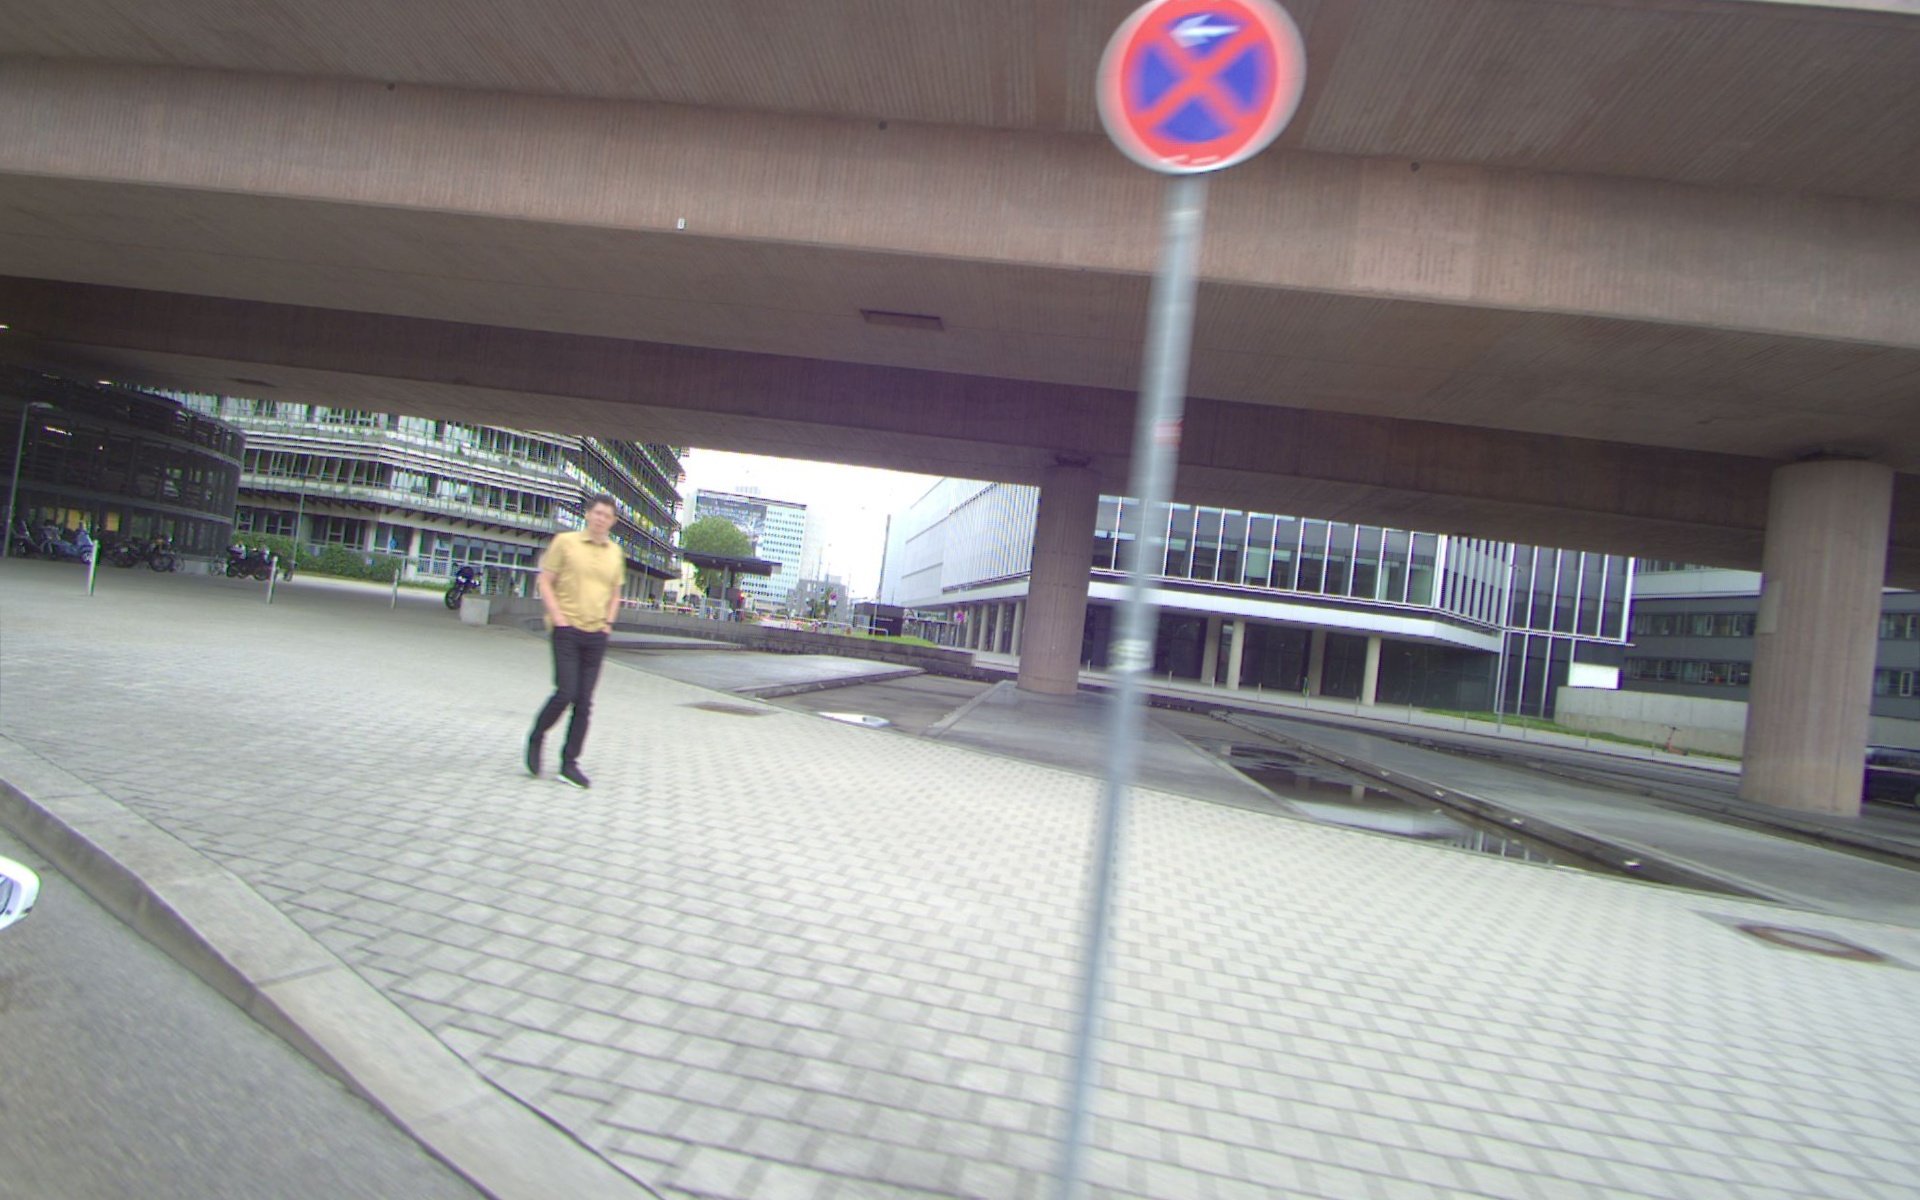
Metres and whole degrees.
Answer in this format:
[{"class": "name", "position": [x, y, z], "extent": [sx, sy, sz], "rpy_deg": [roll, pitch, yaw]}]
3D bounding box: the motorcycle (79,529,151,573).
[{"class": "motorcycle", "position": [-29.846, -1.713, 35.552], "extent": [2.039, 1.234, 0.675], "rpy_deg": [8, -1, 10]}]

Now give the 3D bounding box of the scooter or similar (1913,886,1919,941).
[{"class": "scooter or similar", "position": [6.810, 1.744, 6.346], "extent": [0.509, 1.311, 1.648], "rpy_deg": [8, 0, 24]}]

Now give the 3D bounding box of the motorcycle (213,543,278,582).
[{"class": "motorcycle", "position": [-30.003, -1.556, 42.259], "extent": [2.318, 1.290, 0.675], "rpy_deg": [8, -1, 10]}]

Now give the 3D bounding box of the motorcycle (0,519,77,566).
[{"class": "motorcycle", "position": [-30.514, -1.910, 33.307], "extent": [2.039, 1.234, 0.675], "rpy_deg": [8, -1, 10]}]

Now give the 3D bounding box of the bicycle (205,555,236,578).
[{"class": "bicycle", "position": [-32.260, -1.462, 43.908], "extent": [0.468, 0.906, 1.501], "rpy_deg": [8, -1, -16]}]

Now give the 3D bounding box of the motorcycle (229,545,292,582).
[{"class": "motorcycle", "position": [-30.315, -1.578, 43.582], "extent": [2.318, 1.234, 0.675], "rpy_deg": [8, -1, 10]}]

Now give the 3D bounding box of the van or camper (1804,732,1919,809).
[{"class": "van or camper", "position": [30.339, 5.600, 32.121], "extent": [2.117, 1.915, 4.897], "rpy_deg": [8, -1, -7]}]

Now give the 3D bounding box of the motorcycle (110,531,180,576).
[{"class": "motorcycle", "position": [-29.693, -1.687, 36.665], "extent": [2.039, 1.301, 0.675], "rpy_deg": [8, -1, 10]}]

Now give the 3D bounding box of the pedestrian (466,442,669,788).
[{"class": "pedestrian", "position": [-2.589, 0.100, 6.582], "extent": [0.778, 2.037, 1.030], "rpy_deg": [8, -1, -35]}]

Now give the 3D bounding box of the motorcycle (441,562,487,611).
[{"class": "motorcycle", "position": [-13.997, -0.366, 28.418], "extent": [0.539, 1.279, 1.937], "rpy_deg": [8, -1, -12]}]

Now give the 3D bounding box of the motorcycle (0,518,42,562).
[{"class": "motorcycle", "position": [-30.817, -1.983, 32.355], "extent": [2.039, 1.234, 0.675], "rpy_deg": [8, -1, 10]}]

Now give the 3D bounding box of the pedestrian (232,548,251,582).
[{"class": "pedestrian", "position": [-45.312, -2.226, 63.413], "extent": [0.563, 2.036, 0.529], "rpy_deg": [6, -2, 19]}]

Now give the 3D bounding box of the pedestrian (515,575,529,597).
[{"class": "pedestrian", "position": [-30.867, -1.003, 70.904], "extent": [0.487, 1.499, 0.545], "rpy_deg": [8, 0, 2]}]

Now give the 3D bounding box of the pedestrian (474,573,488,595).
[{"class": "pedestrian", "position": [-33.920, -1.138, 71.291], "extent": [0.488, 1.499, 0.545], "rpy_deg": [8, 0, 24]}]

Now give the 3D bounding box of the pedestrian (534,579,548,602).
[{"class": "pedestrian", "position": [-29.412, -0.661, 70.643], "extent": [0.487, 1.499, 0.545], "rpy_deg": [8, 0, 5]}]

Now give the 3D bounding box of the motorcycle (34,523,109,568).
[{"class": "motorcycle", "position": [-30.425, -1.864, 34.450], "extent": [2.039, 1.234, 0.675], "rpy_deg": [8, -1, 10]}]
